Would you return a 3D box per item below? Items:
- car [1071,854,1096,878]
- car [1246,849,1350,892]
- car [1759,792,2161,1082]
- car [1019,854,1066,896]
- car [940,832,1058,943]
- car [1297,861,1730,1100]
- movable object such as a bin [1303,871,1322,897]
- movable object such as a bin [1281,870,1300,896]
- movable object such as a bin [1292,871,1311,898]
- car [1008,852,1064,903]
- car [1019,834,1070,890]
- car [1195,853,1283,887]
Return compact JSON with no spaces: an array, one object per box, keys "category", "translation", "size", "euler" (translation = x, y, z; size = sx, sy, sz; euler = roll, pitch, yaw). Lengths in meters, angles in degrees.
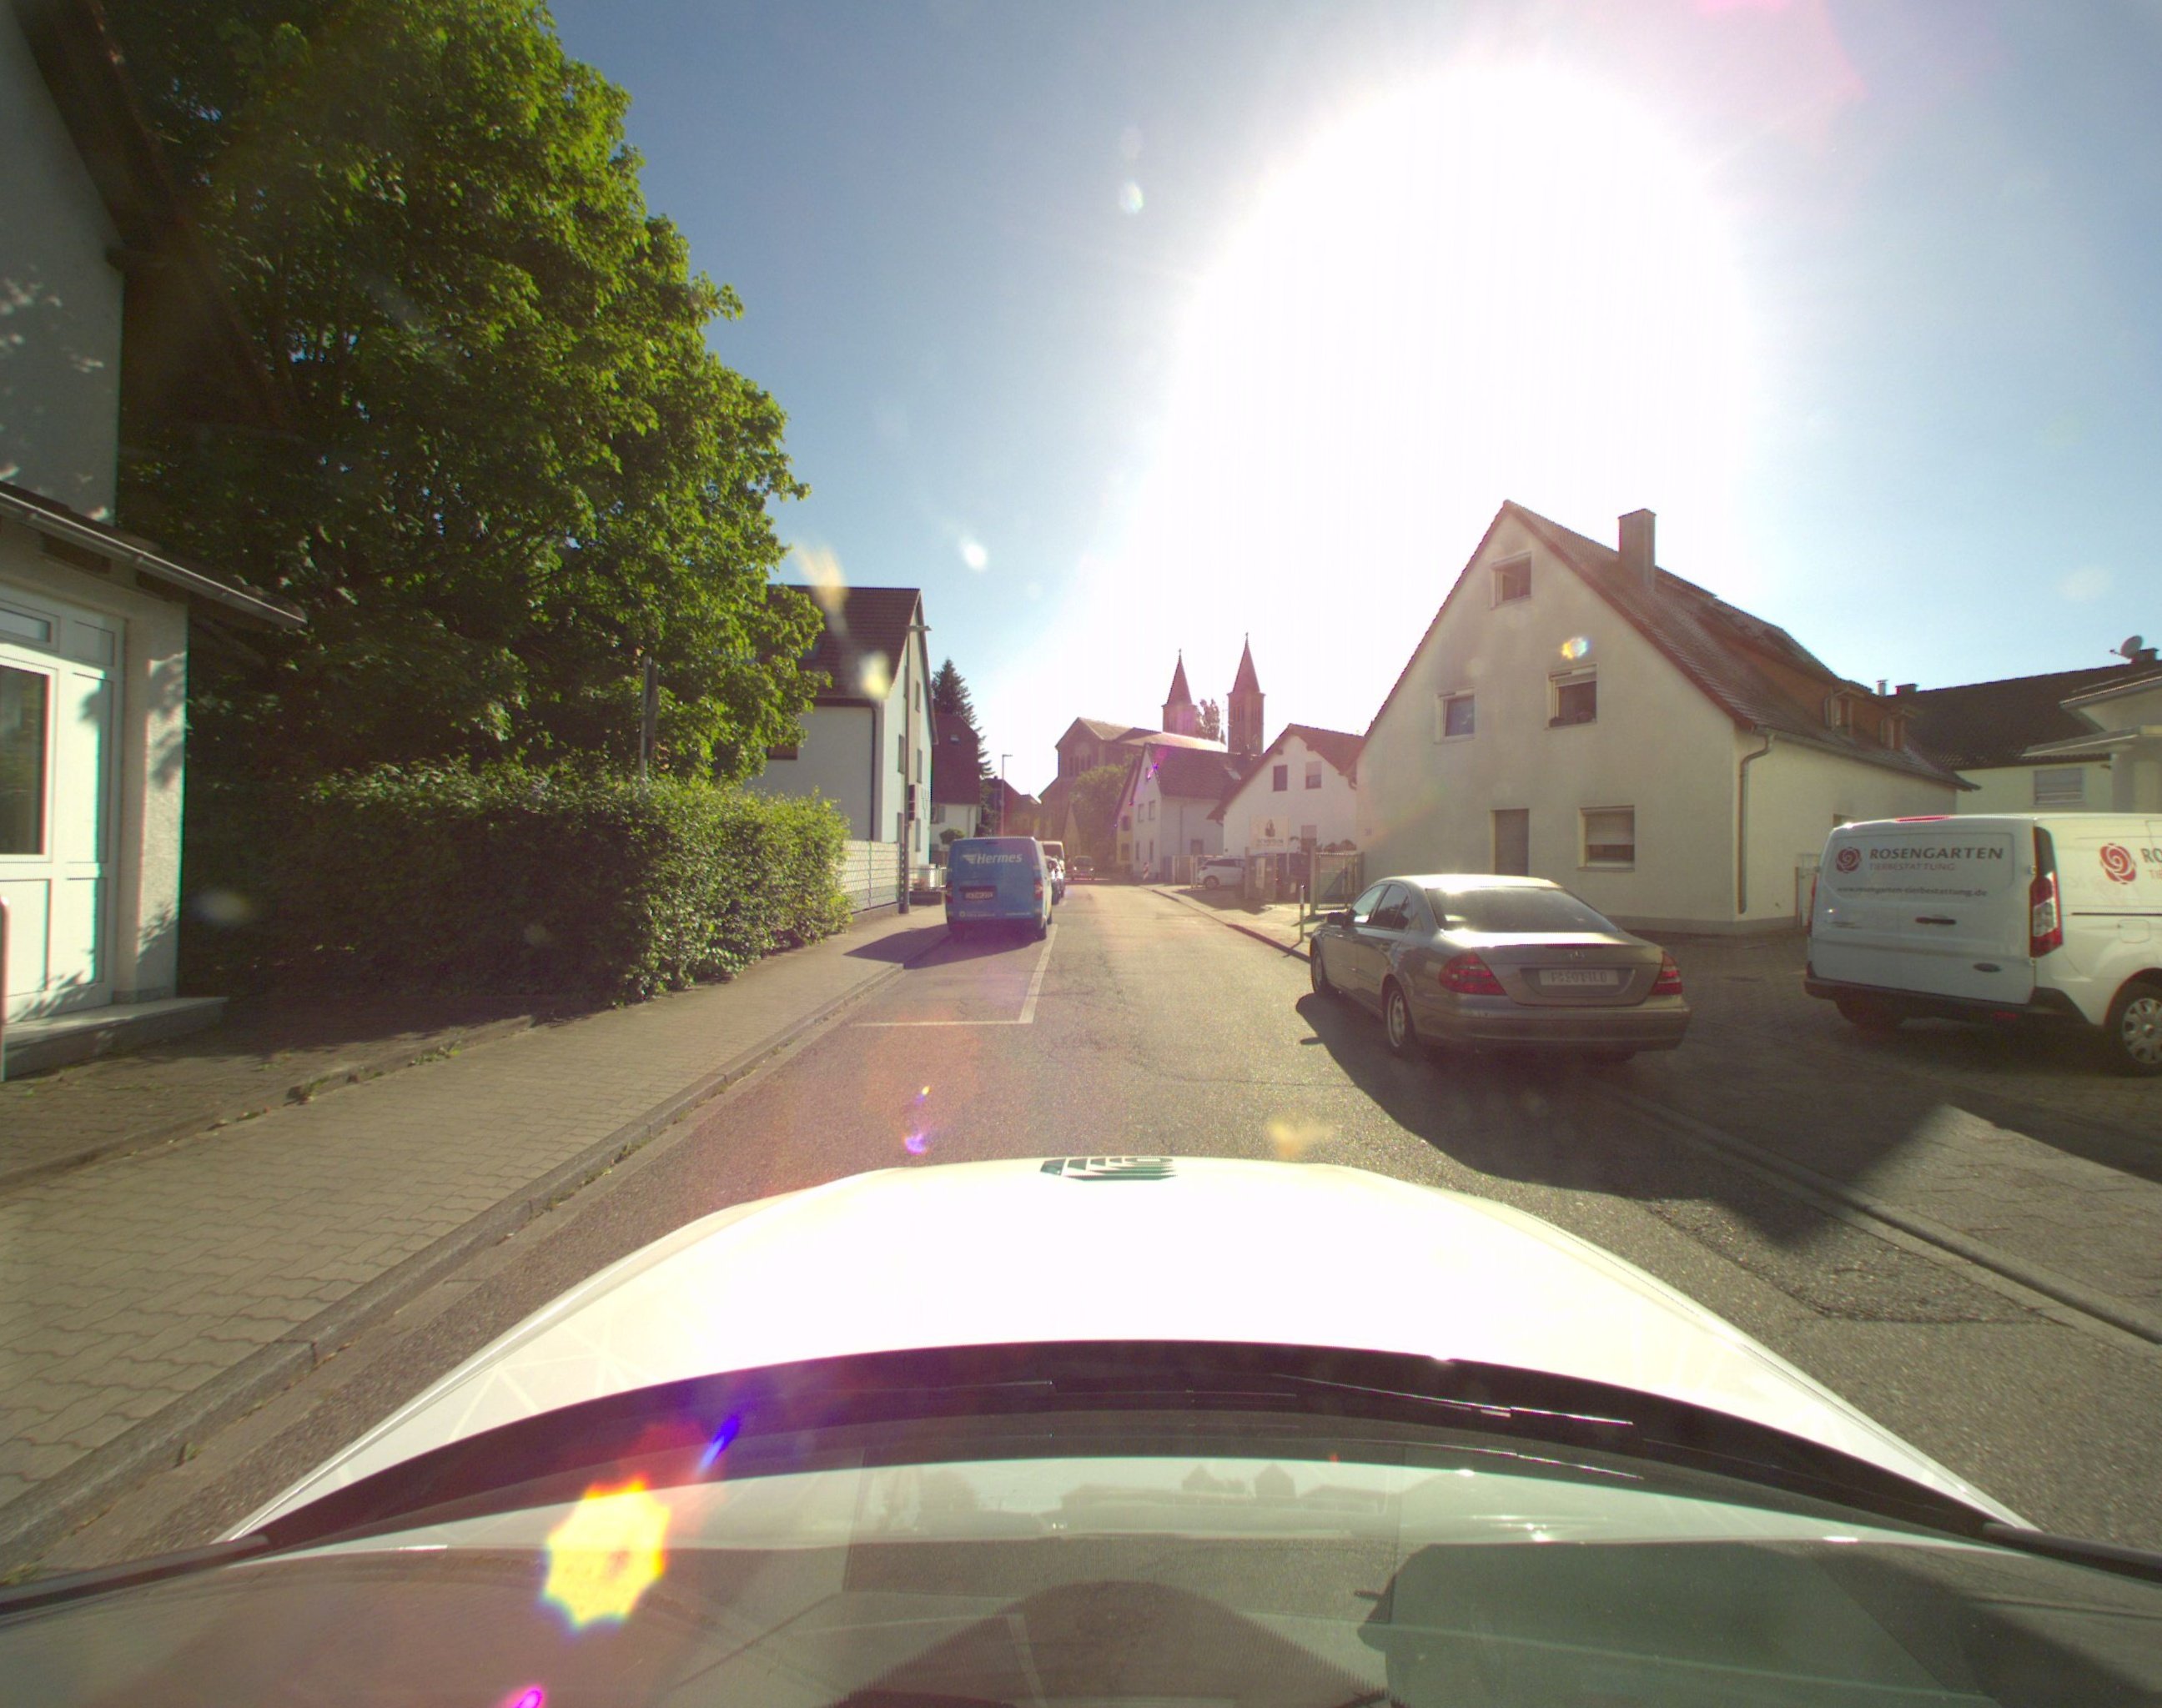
[{"category":"car","translation":[0.155,0.785,53.526],"size":[1.569,1.546,2.964],"euler":[0,0,-1]},{"category":"car","translation":[9.066,0.643,33.986],"size":[4.060,1.688,1.894],"euler":[-1,0,-29]},{"category":"car","translation":[8.543,0.475,6.671],"size":[4.760,1.886,1.903],"euler":[-2,0,-9]},{"category":"car","translation":[-1.449,0.787,32.189],"size":[1.706,1.504,4.233],"euler":[-1,0,-1]},{"category":"car","translation":[-1.498,0.574,16.688],"size":[1.896,1.917,5.068],"euler":[-1,0,-1]},{"category":"car","translation":[3.441,0.844,7.655],"size":[1.804,1.475,4.663],"euler":[1,0,3]},{"category":"movable object such as a bin","translation":[8.507,1.090,29.927],"size":[0.518,0.923,0.419],"euler":[3,-1,-30]},{"category":"movable object such as a bin","translation":[7.556,1.055,29.365],"size":[0.518,0.923,0.419],"euler":[3,-1,-30]},{"category":"movable object such as a bin","translation":[8.026,1.108,29.647],"size":[0.518,0.923,0.419],"euler":[3,-1,-30]},{"category":"car","translation":[-1.455,0.745,27.709],"size":[1.710,1.598,3.923],"euler":[-1,0,-1]},{"category":"car","translation":[-1.682,0.343,39.201],"size":[2.190,2.390,6.062],"euler":[-2,0,-1]},{"category":"car","translation":[7.181,0.722,37.312],"size":[3.891,1.492,1.851],"euler":[-1,0,7]}]
